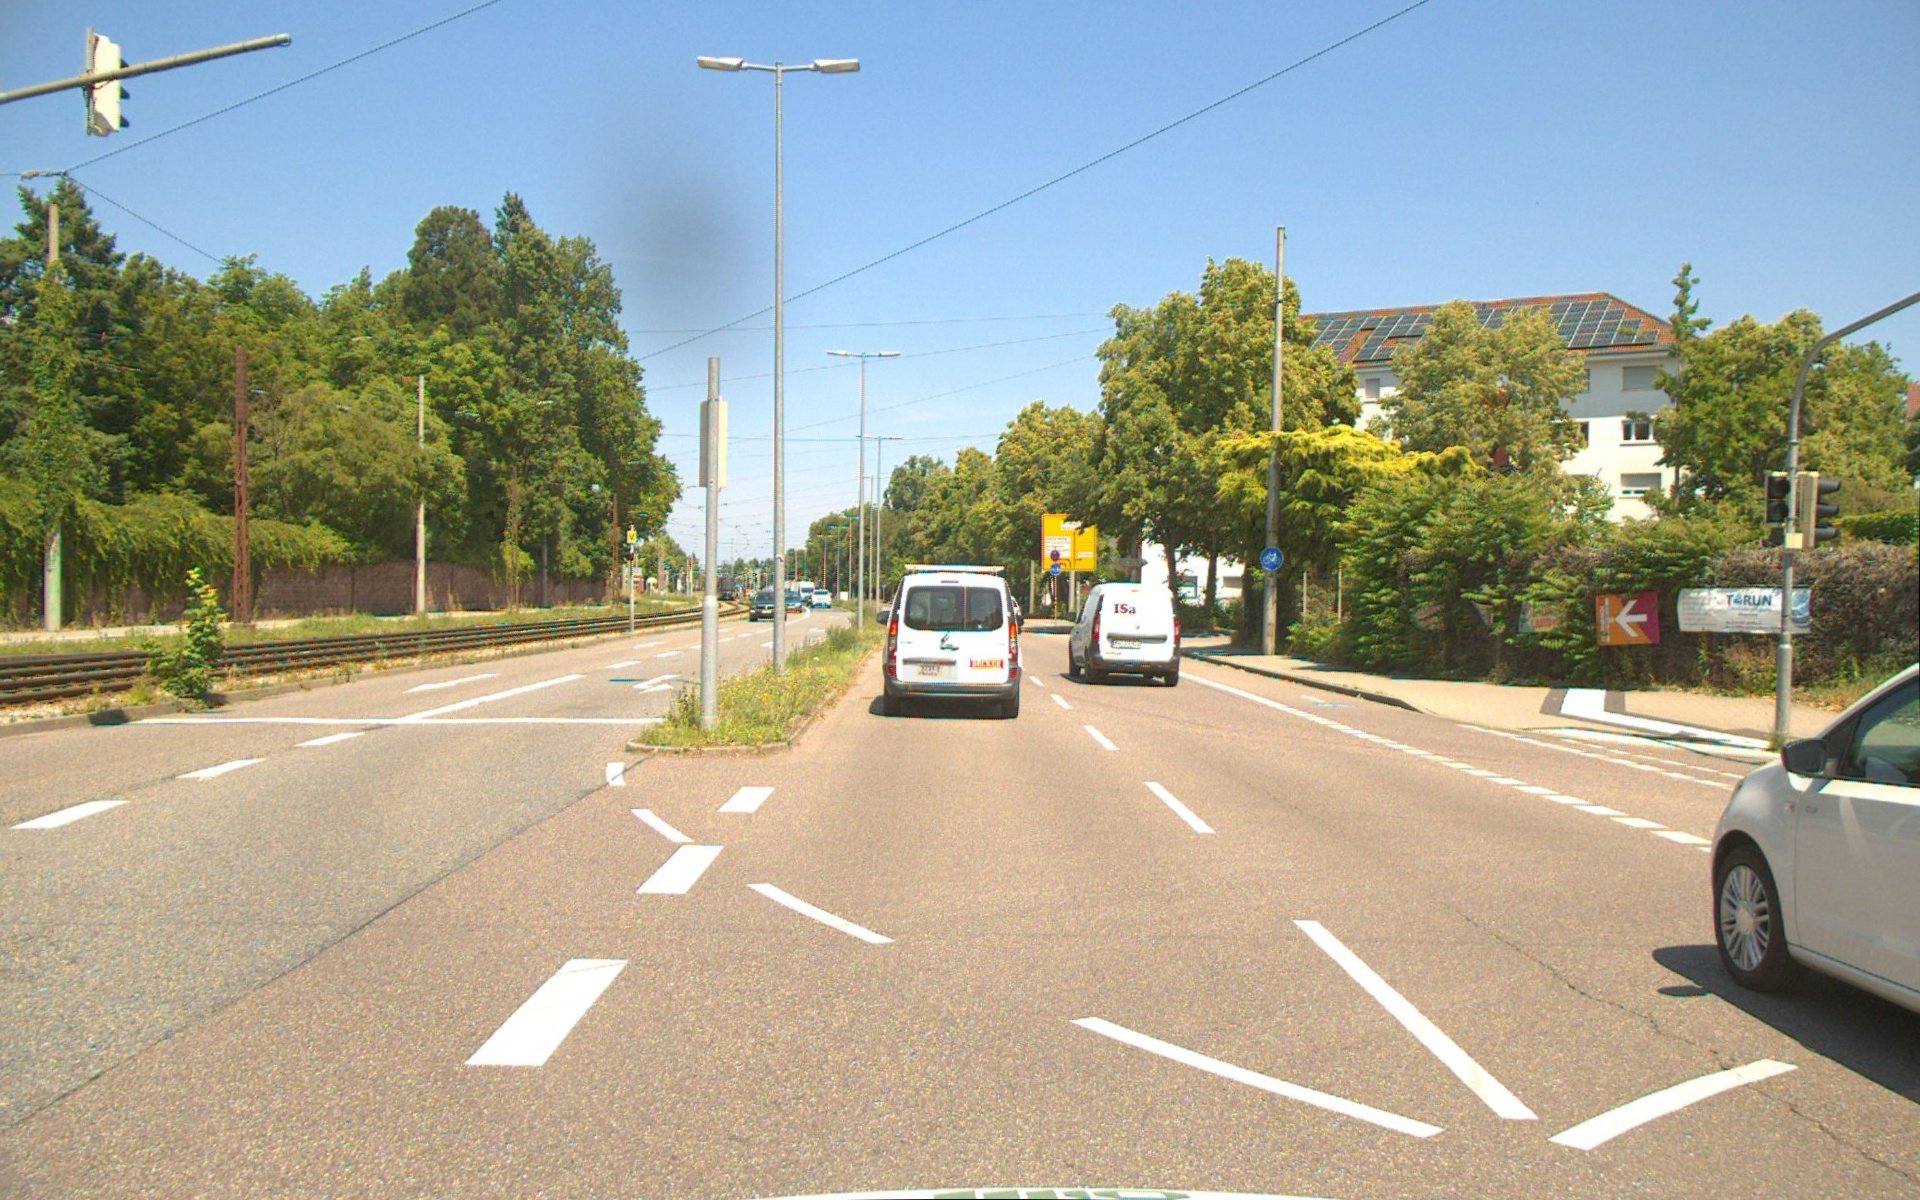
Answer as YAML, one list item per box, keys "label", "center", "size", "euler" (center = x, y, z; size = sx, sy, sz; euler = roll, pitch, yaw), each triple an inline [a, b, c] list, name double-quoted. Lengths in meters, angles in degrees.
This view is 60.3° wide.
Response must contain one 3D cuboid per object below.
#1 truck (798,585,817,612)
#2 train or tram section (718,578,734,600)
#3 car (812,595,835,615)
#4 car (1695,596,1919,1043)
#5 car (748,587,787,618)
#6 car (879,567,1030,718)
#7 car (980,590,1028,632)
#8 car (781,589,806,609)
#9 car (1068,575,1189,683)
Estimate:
- label: "truck"
  center: [-19.141, -0.189, 207.705]
  size: [1.953, 3.270, 5.310]
  euler: [1, 0, -1]
- label: "train or tram section"
  center: [-35.933, -1.665, 253.542]
  size: [1.957, 3.140, 16.129]
  euler: [2, 0, -10]
- label: "car"
  center: [-13.255, 0.449, 161.172]
  size: [1.953, 1.847, 3.999]
  euler: [1, 0, -2]
- label: "car"
  center: [4.015, 0.773, 5.494]
  size: [1.576, 1.472, 3.436]
  euler: [2, 1, 0]
- label: "car"
  center: [-9.996, 0.107, 86.091]
  size: [1.663, 1.539, 4.064]
  euler: [0, 0, -2]
- label: "car"
  center: [-0.079, 0.507, 22.280]
  size: [1.784, 1.770, 4.395]
  euler: [2, 0, 0]
- label: "car"
  center: [1.783, 0.435, 67.847]
  size: [1.798, 1.596, 4.000]
  euler: [2, 1, -1]
- label: "car"
  center: [-12.336, -0.102, 122.850]
  size: [1.663, 1.464, 3.998]
  euler: [0, 0, -3]
- label: "car"
  center: [3.080, 0.500, 30.994]
  size: [1.693, 1.819, 4.063]
  euler: [2, 0, -1]
